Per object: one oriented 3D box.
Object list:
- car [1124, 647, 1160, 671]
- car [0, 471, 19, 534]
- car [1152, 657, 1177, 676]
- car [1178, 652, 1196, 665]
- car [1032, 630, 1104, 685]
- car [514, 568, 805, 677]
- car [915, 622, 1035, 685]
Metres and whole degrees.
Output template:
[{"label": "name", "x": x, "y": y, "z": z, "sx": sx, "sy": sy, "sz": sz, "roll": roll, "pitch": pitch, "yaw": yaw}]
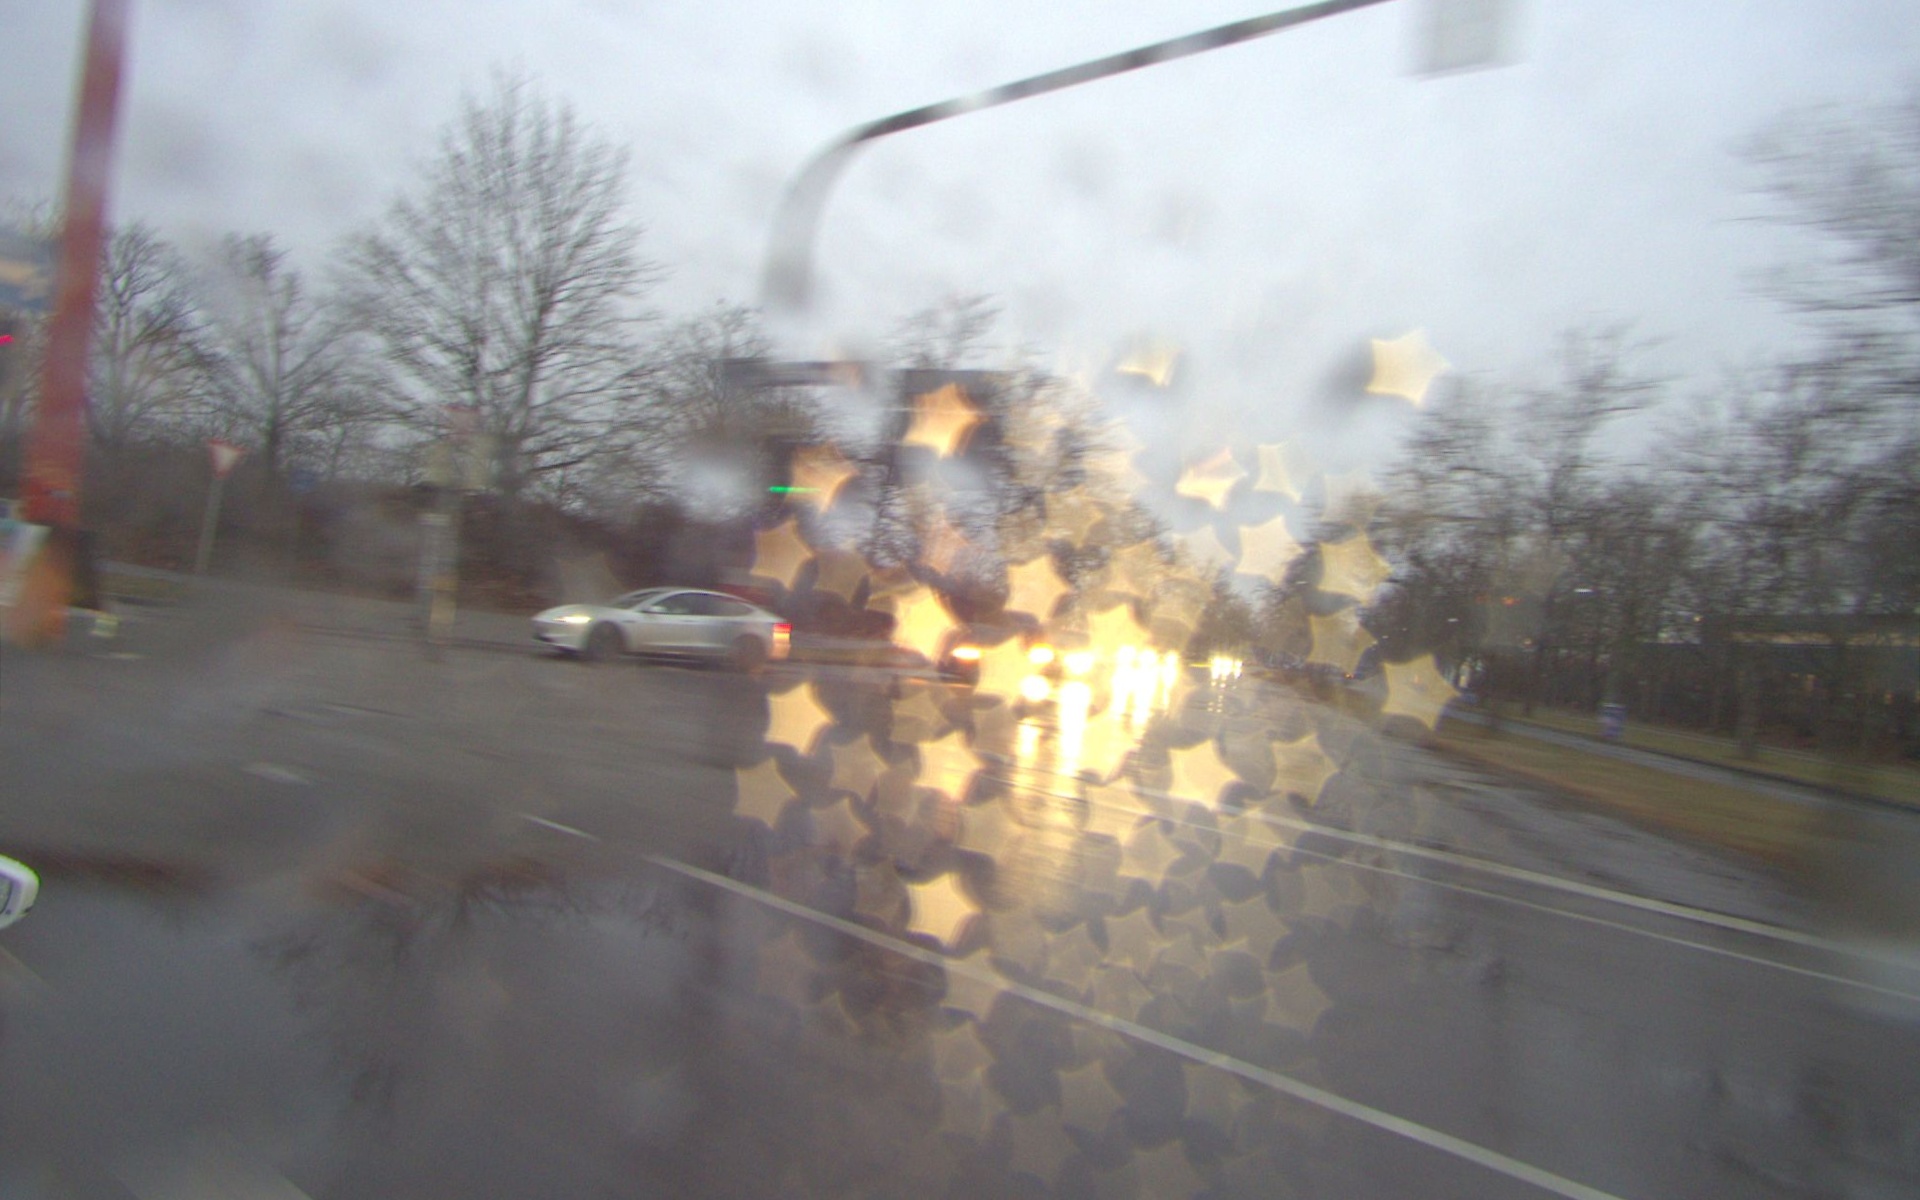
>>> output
[{"label": "car", "x": 11.920, "y": 3.866, "z": 65.725, "sx": 1.627, "sy": 1.361, "sz": 3.892, "roll": 7, "pitch": -1, "yaw": 18}, {"label": "car", "x": -27.772, "y": -2.866, "z": 27.323, "sx": 4.471, "sy": 1.639, "sz": 1.969, "roll": 7, "pitch": 0, "yaw": 31}, {"label": "car", "x": 18.049, "y": 5.861, "z": 88.716, "sx": 1.627, "sy": 1.361, "sz": 3.892, "roll": 7, "pitch": -1, "yaw": 18}, {"label": "car", "x": 27.040, "y": 7.004, "z": 119.834, "sx": 1.627, "sy": 1.361, "sz": 3.892, "roll": 7, "pitch": -1, "yaw": 18}, {"label": "car", "x": 3.925, "y": 2.063, "z": 35.918, "sx": 1.627, "sy": 1.654, "sz": 3.892, "roll": 7, "pitch": -1, "yaw": 18}, {"label": "car", "x": -5.411, "y": 0.460, "z": 18.533, "sx": 4.723, "sy": 1.392, "sz": 1.861, "roll": 9, "pitch": -2, "yaw": -41}, {"label": "car", "x": 0.471, "y": 1.408, "z": 25.911, "sx": 1.607, "sy": 1.325, "sz": 4.000, "roll": 7, "pitch": -1, "yaw": 23}]
